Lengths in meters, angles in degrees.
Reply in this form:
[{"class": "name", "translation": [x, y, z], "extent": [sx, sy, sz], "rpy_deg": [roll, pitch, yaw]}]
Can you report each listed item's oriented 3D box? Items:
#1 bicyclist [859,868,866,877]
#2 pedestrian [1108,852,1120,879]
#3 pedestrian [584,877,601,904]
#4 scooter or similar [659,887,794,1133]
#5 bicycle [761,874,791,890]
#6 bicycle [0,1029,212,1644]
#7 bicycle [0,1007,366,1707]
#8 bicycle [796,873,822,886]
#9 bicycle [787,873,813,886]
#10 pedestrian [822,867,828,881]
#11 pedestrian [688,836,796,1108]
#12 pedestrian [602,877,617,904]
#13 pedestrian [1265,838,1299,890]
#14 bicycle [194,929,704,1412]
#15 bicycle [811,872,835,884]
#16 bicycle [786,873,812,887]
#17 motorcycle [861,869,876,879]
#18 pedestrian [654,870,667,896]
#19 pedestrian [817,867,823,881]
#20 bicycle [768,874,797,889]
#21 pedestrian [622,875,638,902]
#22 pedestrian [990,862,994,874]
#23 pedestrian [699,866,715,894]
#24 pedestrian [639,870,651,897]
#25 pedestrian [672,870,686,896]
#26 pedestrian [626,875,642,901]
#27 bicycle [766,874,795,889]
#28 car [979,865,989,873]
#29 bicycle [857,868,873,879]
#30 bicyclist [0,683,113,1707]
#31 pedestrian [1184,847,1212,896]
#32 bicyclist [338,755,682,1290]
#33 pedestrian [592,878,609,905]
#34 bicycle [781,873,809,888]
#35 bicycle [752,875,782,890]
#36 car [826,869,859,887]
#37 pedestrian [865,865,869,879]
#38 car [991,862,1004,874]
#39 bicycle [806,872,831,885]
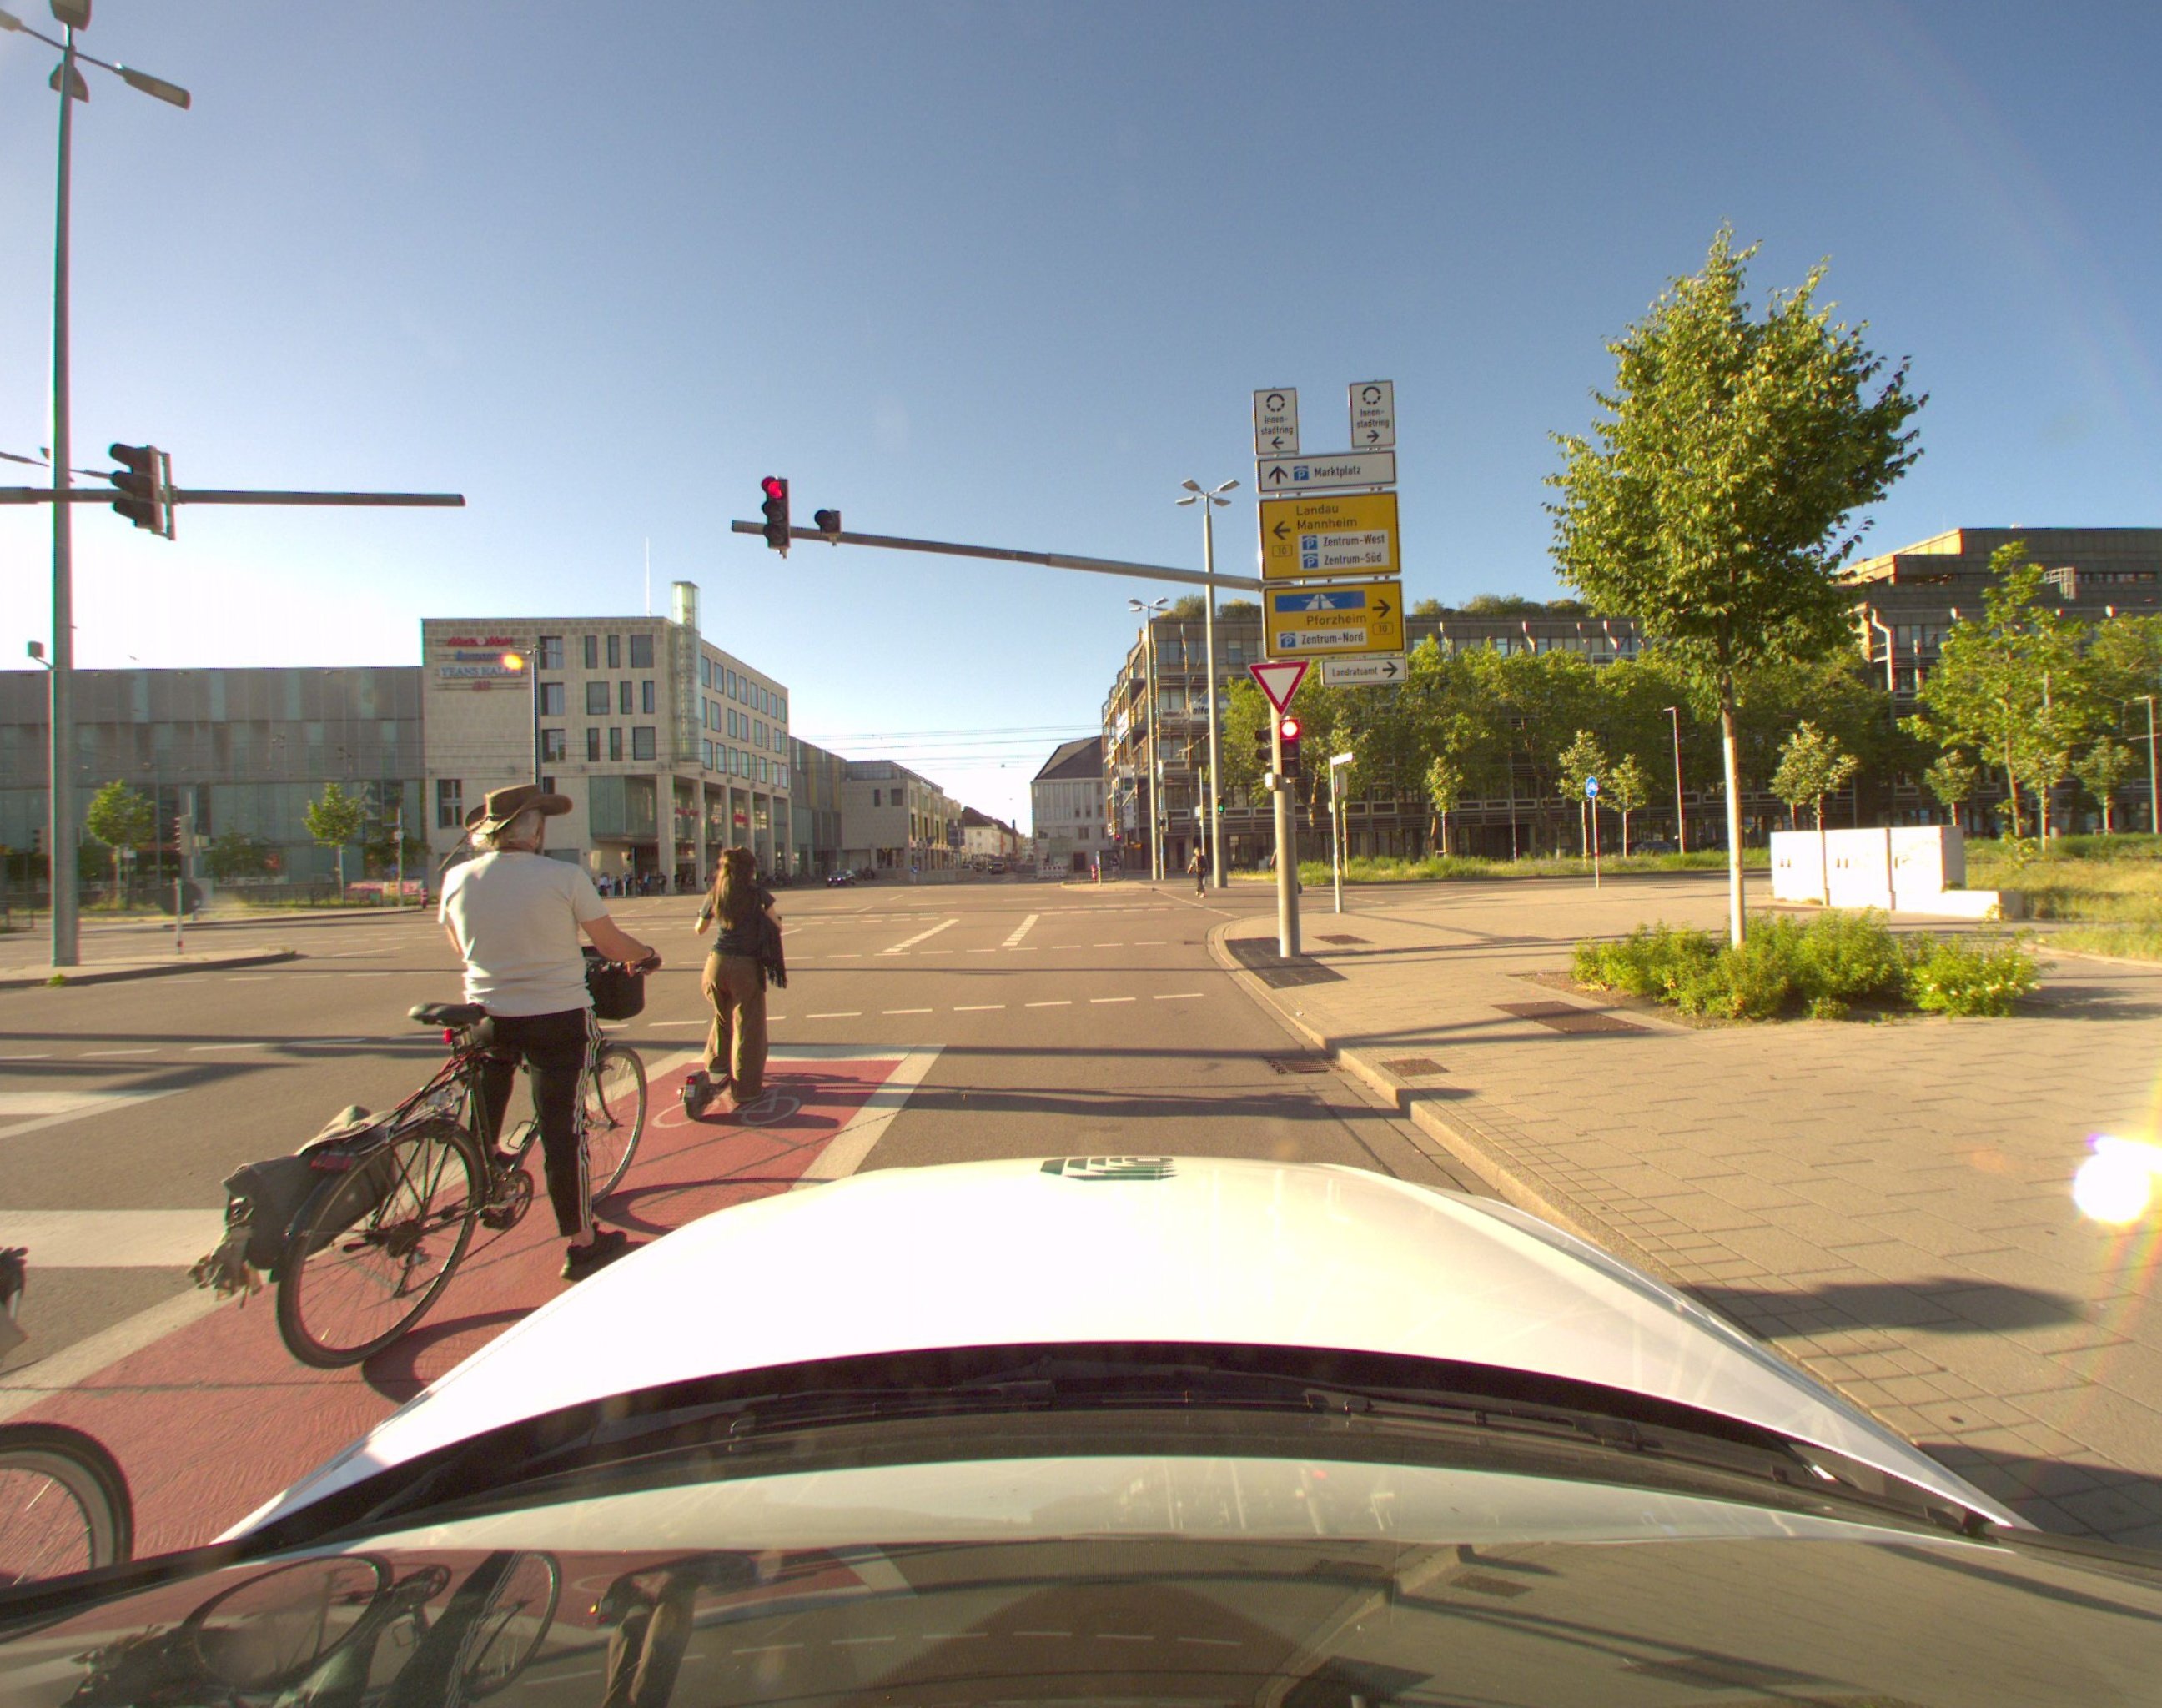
[{"class": "bicyclist", "translation": [-25.723, 2.154, 95.847], "extent": [0.628, 1.084, 0.506], "rpy_deg": [0, 0, -39]}, {"class": "pedestrian", "translation": [2.328, 0.819, 57.411], "extent": [0.785, 1.890, 0.644], "rpy_deg": [0, -1, 1]}, {"class": "pedestrian", "translation": [-35.005, 2.600, 58.370], "extent": [0.783, 1.885, 0.716], "rpy_deg": [0, -1, -4]}, {"class": "scooter or similar", "translation": [-2.154, 0.872, 5.073], "extent": [0.547, 1.294, 1.188], "rpy_deg": [0, -1, -13]}, {"class": "bicycle", "translation": [-26.458, 2.421, 70.650], "extent": [2.299, 1.222, 0.612], "rpy_deg": [-2, -1, -1]}, {"class": "bicycle", "translation": [-2.420, 0.983, 0.978], "extent": [0.645, 1.109, 1.970], "rpy_deg": [0, 0, -1]}, {"class": "bicycle", "translation": [-1.675, 0.907, 0.642], "extent": [0.614, 1.218, 1.831], "rpy_deg": [0, 0, -1]}, {"class": "bicycle", "translation": [-27.180, 2.515, 81.342], "extent": [2.299, 1.222, 0.612], "rpy_deg": [-2, -1, -1]}, {"class": "bicycle", "translation": [-27.624, 2.508, 80.125], "extent": [2.299, 1.222, 0.612], "rpy_deg": [-2, -1, -1]}, {"class": "pedestrian", "translation": [-30.420, 2.363, 96.834], "extent": [0.553, 1.679, 0.606], "rpy_deg": [0, 0, -8]}, {"class": "pedestrian", "translation": [-2.160, 0.707, 5.242], "extent": [0.549, 1.633, 0.569], "rpy_deg": [0, -1, -13]}, {"class": "pedestrian", "translation": [-33.988, 2.628, 58.719], "extent": [0.714, 1.885, 0.786], "rpy_deg": [0, -1, -6]}, {"class": "pedestrian", "translation": [6.648, 0.332, 26.987], "extent": [0.876, 1.665, 0.964], "rpy_deg": [0, -1, -2]}, {"class": "bicycle", "translation": [-2.146, 0.944, 3.136], "extent": [0.483, 1.156, 1.832], "rpy_deg": [0, -1, 2]}, {"class": "bicycle", "translation": [-27.419, 2.561, 86.646], "extent": [2.299, 1.222, 0.612], "rpy_deg": [-2, -1, -1]}, {"class": "bicycle", "translation": [-27.058, 2.488, 78.130], "extent": [2.299, 1.222, 0.612], "rpy_deg": [-2, -1, -1]}, {"class": "motorcycle", "translation": [-25.776, 2.438, 98.738], "extent": [1.807, 1.206, 0.509], "rpy_deg": [0, 0, -14]}, {"class": "pedestrian", "translation": [-30.788, 2.122, 59.665], "extent": [0.800, 1.843, 0.856], "rpy_deg": [-2, 0, -26]}, {"class": "pedestrian", "translation": [-30.987, 2.370, 96.710], "extent": [0.570, 1.679, 0.614], "rpy_deg": [0, 0, -8]}, {"class": "bicycle", "translation": [-26.736, 2.441, 72.895], "extent": [2.299, 1.222, 0.612], "rpy_deg": [-2, -1, -1]}, {"class": "pedestrian", "translation": [-31.942, 2.454, 57.691], "extent": [0.783, 1.885, 0.716], "rpy_deg": [0, -1, -4]}, {"class": "pedestrian", "translation": [-12.836, 2.010, 117.736], "extent": [0.520, 1.679, 0.582], "rpy_deg": [0, 0, -5]}, {"class": "pedestrian", "translation": [-27.920, 1.929, 60.838], "extent": [0.883, 2.014, 0.771], "rpy_deg": [0, -1, -9]}, {"class": "pedestrian", "translation": [-31.190, 2.090, 58.262], "extent": [0.718, 1.885, 0.781], "rpy_deg": [0, -1, -25]}, {"class": "pedestrian", "translation": [-29.102, 2.069, 58.939], "extent": [0.801, 1.843, 0.855], "rpy_deg": [-2, 0, -30]}, {"class": "pedestrian", "translation": [-32.508, 2.471, 59.243], "extent": [0.783, 1.885, 0.716], "rpy_deg": [0, -1, -4]}, {"class": "bicycle", "translation": [-26.561, 2.433, 72.010], "extent": [2.299, 1.222, 0.612], "rpy_deg": [-2, -1, -1]}, {"class": "car", "translation": [-19.571, 2.981, 164.219], "extent": [1.793, 1.657, 3.997], "rpy_deg": [0, -1, -2]}, {"class": "bicycle", "translation": [-25.463, 2.316, 96.035], "extent": [1.819, 1.206, 0.506], "rpy_deg": [0, 0, -38]}, {"class": "bicyclist", "translation": [-1.678, 0.576, 0.699], "extent": [0.639, 1.579, 0.875], "rpy_deg": [0, 0, -1]}, {"class": "pedestrian", "translation": [3.644, 0.547, 25.369], "extent": [0.785, 1.492, 0.644], "rpy_deg": [0, -1, 1]}, {"class": "bicyclist", "translation": [-2.054, 0.544, 3.059], "extent": [0.658, 1.720, 0.866], "rpy_deg": [0, -1, 1]}, {"class": "pedestrian", "translation": [-33.865, 2.616, 57.372], "extent": [0.783, 1.885, 0.716], "rpy_deg": [0, -1, -4]}, {"class": "bicycle", "translation": [-26.692, 2.467, 75.962], "extent": [2.299, 1.222, 0.612], "rpy_deg": [-2, -1, -1]}, {"class": "bicycle", "translation": [-26.729, 2.412, 69.373], "extent": [2.299, 1.222, 0.612], "rpy_deg": [-2, -1, -1]}, {"class": "car", "translation": [-20.620, 2.056, 70.506], "extent": [1.625, 1.342, 3.999], "rpy_deg": [-4, -1, 0]}, {"class": "pedestrian", "translation": [-26.096, 2.199, 99.354], "extent": [0.521, 1.679, 0.580], "rpy_deg": [0, 0, -12]}, {"class": "car", "translation": [-11.132, 1.868, 108.654], "extent": [1.735, 1.531, 3.848], "rpy_deg": [0, -1, -5]}, {"class": "bicycle", "translation": [-27.583, 2.554, 85.580], "extent": [2.299, 1.222, 0.612], "rpy_deg": [-2, -1, -1]}]
